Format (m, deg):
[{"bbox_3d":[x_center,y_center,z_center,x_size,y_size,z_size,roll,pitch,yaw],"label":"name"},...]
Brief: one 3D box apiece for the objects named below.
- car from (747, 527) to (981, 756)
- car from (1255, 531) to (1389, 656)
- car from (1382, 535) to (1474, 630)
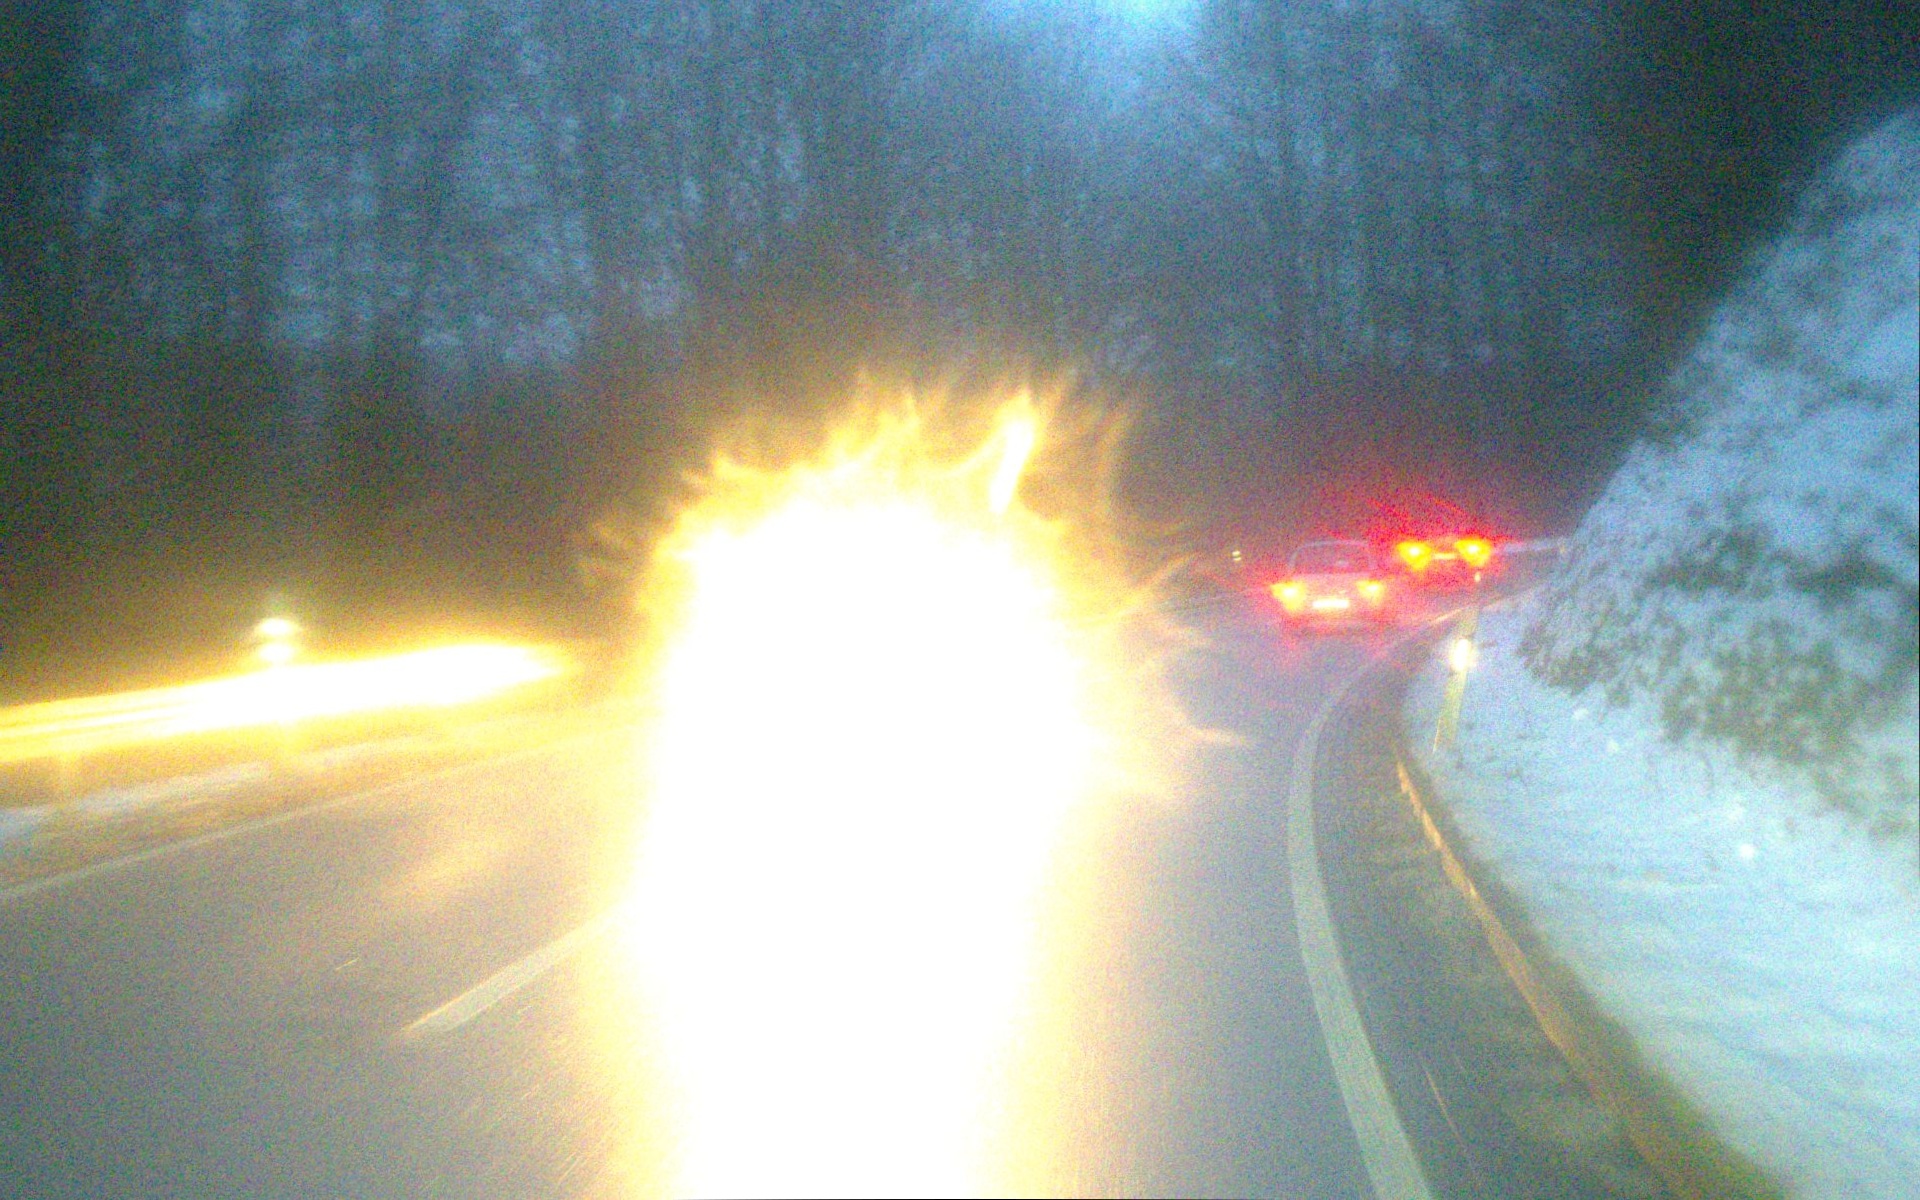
[{"bbox_3d":[-0.864,0.463,33.364,1.993,2.007,3.999,1,-3,2],"label":"car"},{"bbox_3d":[5.682,-0.076,53.768,1.994,1.866,3.999,0,-1,7],"label":"car"},{"bbox_3d":[10.624,-0.375,77.879,1.868,1.912,3.998,2,-2,10],"label":"car"}]
